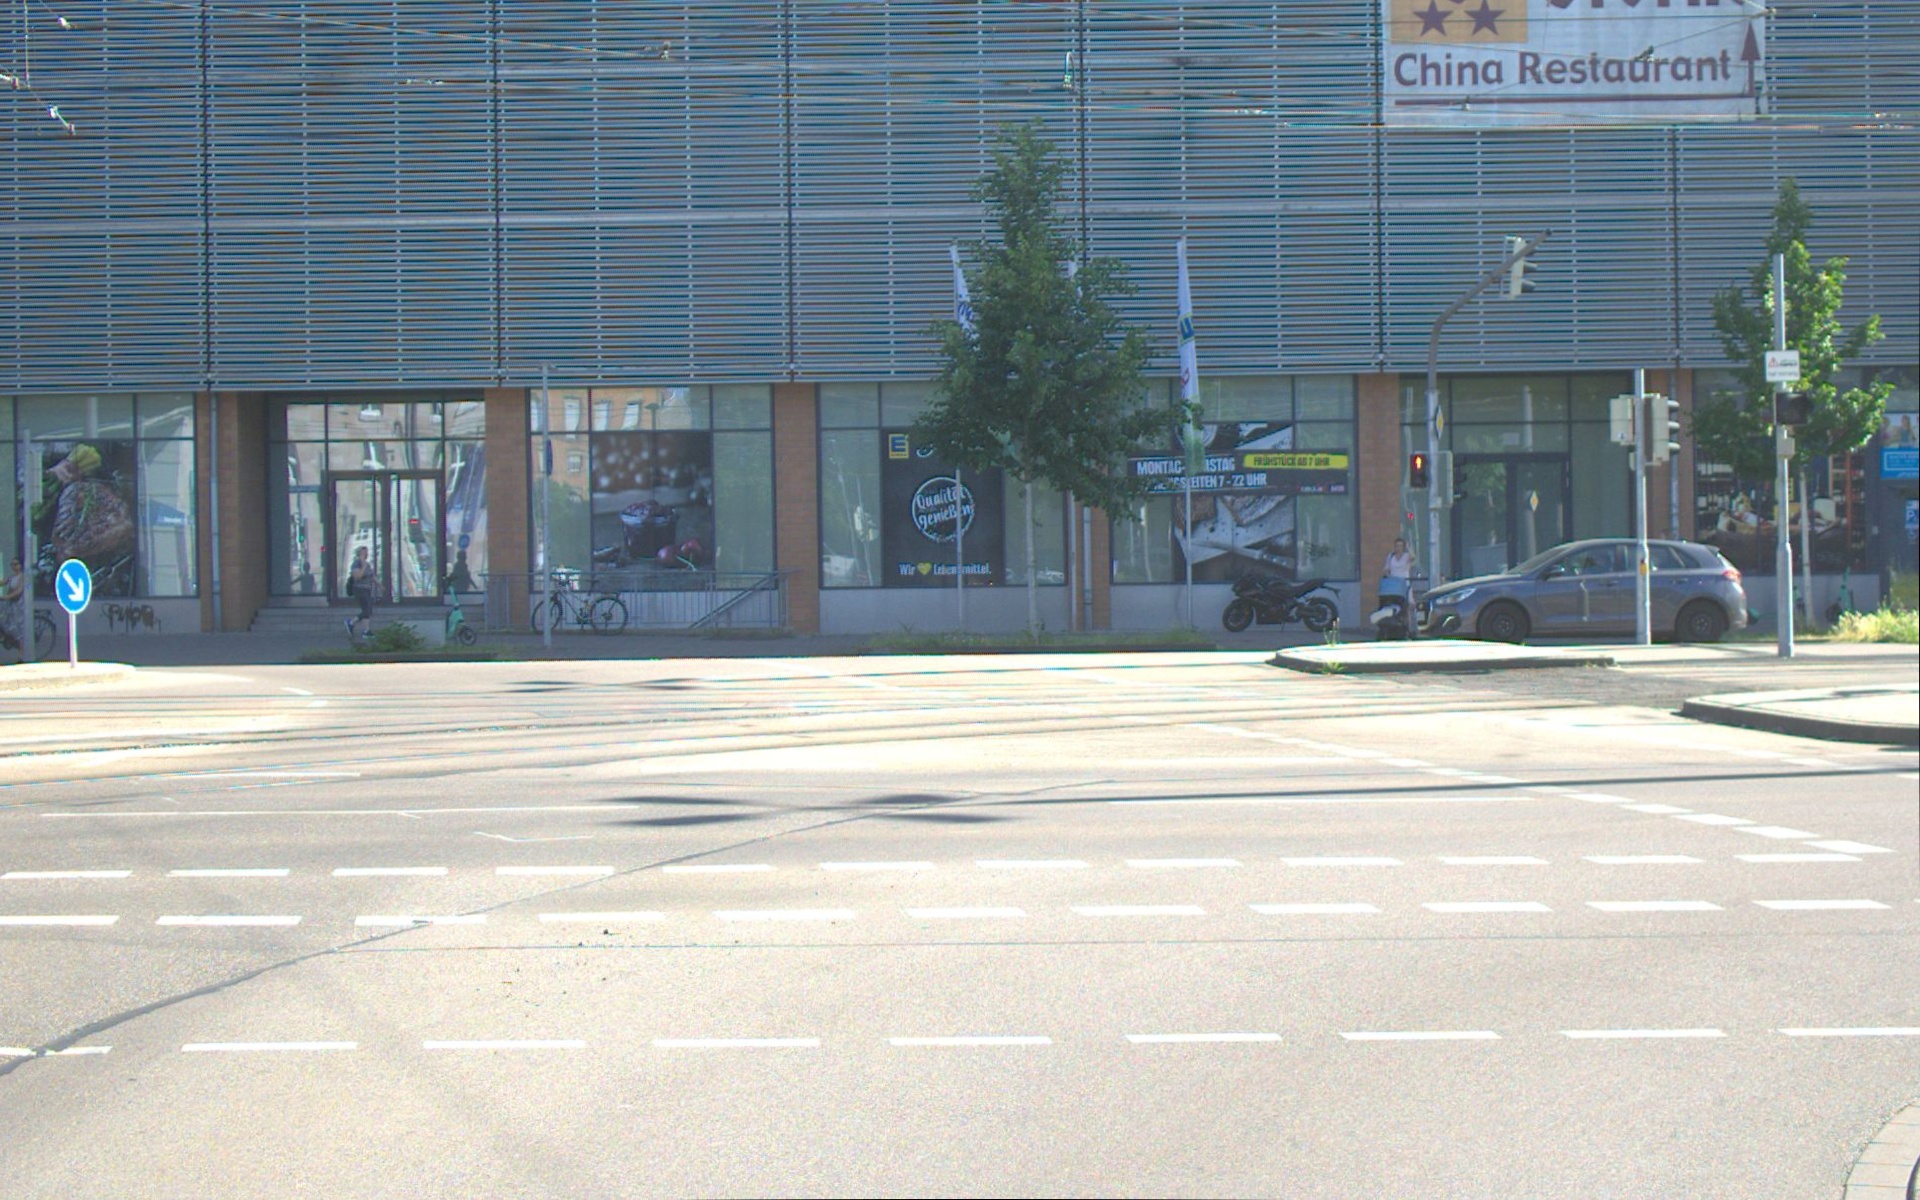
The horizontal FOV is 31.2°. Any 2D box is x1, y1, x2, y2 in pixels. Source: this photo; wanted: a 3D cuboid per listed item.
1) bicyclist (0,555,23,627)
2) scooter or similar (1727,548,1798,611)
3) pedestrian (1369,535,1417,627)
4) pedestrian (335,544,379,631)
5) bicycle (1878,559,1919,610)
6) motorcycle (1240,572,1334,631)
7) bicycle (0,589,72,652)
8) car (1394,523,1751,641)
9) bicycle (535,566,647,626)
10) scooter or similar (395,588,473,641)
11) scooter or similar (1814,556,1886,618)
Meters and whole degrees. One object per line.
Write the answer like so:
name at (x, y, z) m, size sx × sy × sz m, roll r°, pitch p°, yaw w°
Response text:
bicyclist at (-15.300, -0.147, 54.787) m, size 0.562 × 1.136 × 0.560 m, roll -1°, pitch 1°, yaw -33°
scooter or similar at (14.406, -0.369, 61.712) m, size 1.202 × 1.099 × 0.277 m, roll 1°, pitch 0°, yaw 2°
pedestrian at (7.010, -0.307, 55.613) m, size 0.739 × 1.482 × 0.490 m, roll 0°, pitch 1°, yaw 10°
pedestrian at (-10.589, -0.225, 60.411) m, size 0.647 × 1.514 × 0.491 m, roll -1°, pitch 1°, yaw 5°
bicycle at (16.768, -0.276, 58.626) m, size 2.041 × 0.864 × 0.682 m, roll -1°, pitch 1°, yaw -1°
motorcycle at (5.773, 0.026, 60.654) m, size 1.614 × 1.035 × 0.402 m, roll -1°, pitch 1°, yaw 1°
bicycle at (-15.243, 0.337, 54.825) m, size 2.015 × 0.982 × 0.560 m, roll -1°, pitch 1°, yaw -33°
car at (8.083, -0.249, 45.647) m, size 4.295 × 1.494 × 2.000 m, roll -1°, pitch 1°, yaw -4°
bicycle at (-6.495, -0.069, 60.585) m, size 1.944 × 1.035 × 0.573 m, roll -1°, pitch 1°, yaw -4°
scooter or similar at (-8.623, 0.234, 56.355) m, size 1.223 × 0.848 × 0.301 m, roll -1°, pitch 1°, yaw -3°
scooter or similar at (16.045, -0.228, 61.980) m, size 1.202 × 1.099 × 0.277 m, roll 1°, pitch 0°, yaw 2°
